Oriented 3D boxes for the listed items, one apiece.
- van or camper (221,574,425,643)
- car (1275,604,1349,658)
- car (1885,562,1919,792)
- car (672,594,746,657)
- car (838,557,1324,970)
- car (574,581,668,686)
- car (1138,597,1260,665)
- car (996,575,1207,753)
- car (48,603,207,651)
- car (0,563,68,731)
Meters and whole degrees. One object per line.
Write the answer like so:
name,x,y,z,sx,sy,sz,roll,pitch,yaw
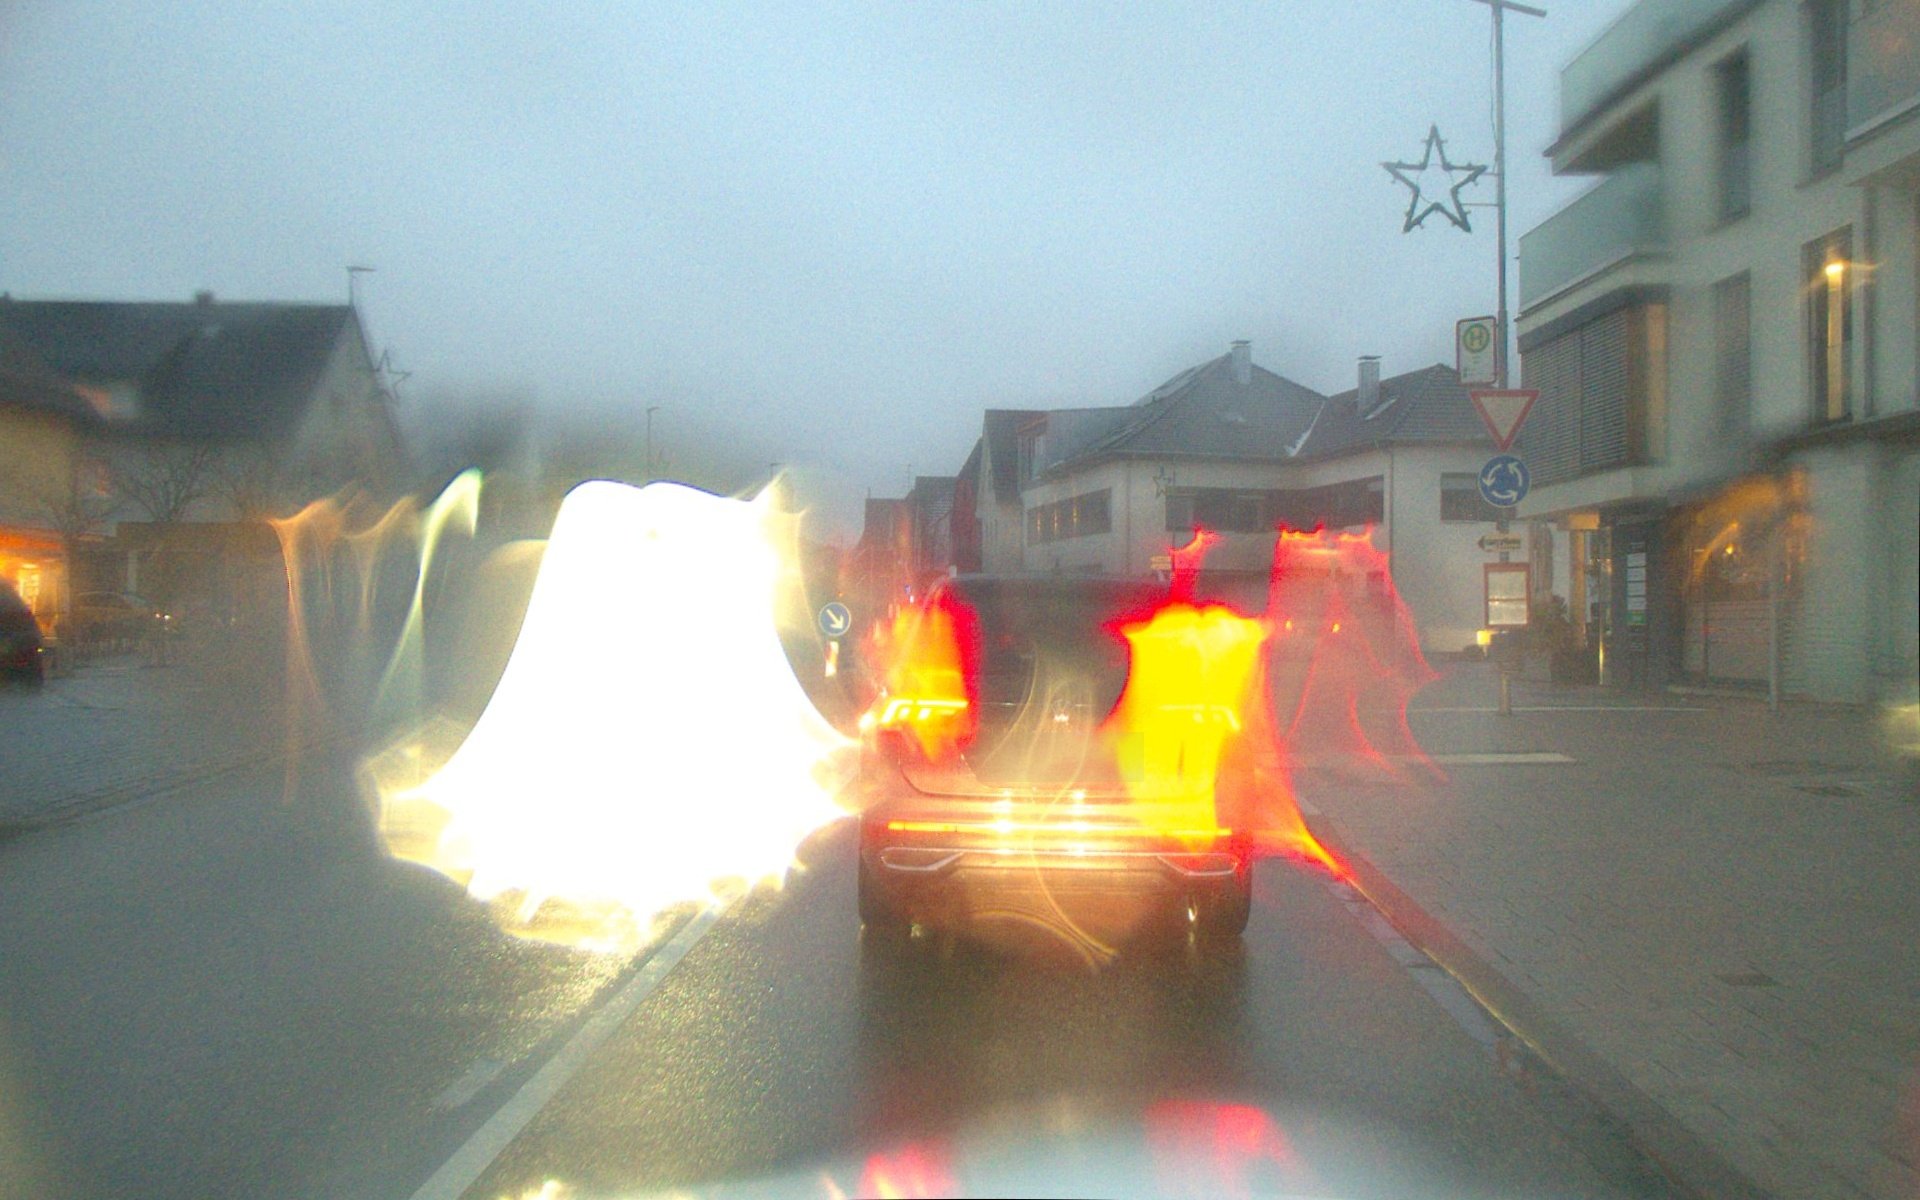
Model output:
van or camper,-18.777,0.239,48.815,5.412,1.989,2.002,0,0,13
car,10.050,0.879,47.447,1.951,1.443,4.003,-1,-1,10
car,8.294,0.398,10.301,4.125,1.485,1.790,-3,0,-7
car,-8.765,0.939,58.006,1.953,2.049,3.998,2,-2,-1
car,0.476,0.651,8.829,1.924,1.622,4.313,1,0,0
car,-7.967,0.751,38.704,1.959,2.242,4.403,2,-1,-13
car,5.464,0.656,37.395,1.952,1.416,4.001,0,0,20
car,1.244,0.531,16.028,1.648,1.478,4.000,1,0,0
car,-25.105,0.808,49.994,3.909,1.388,1.725,0,0,-5
car,-12.496,0.544,20.979,2.014,1.959,4.020,0,0,-28
